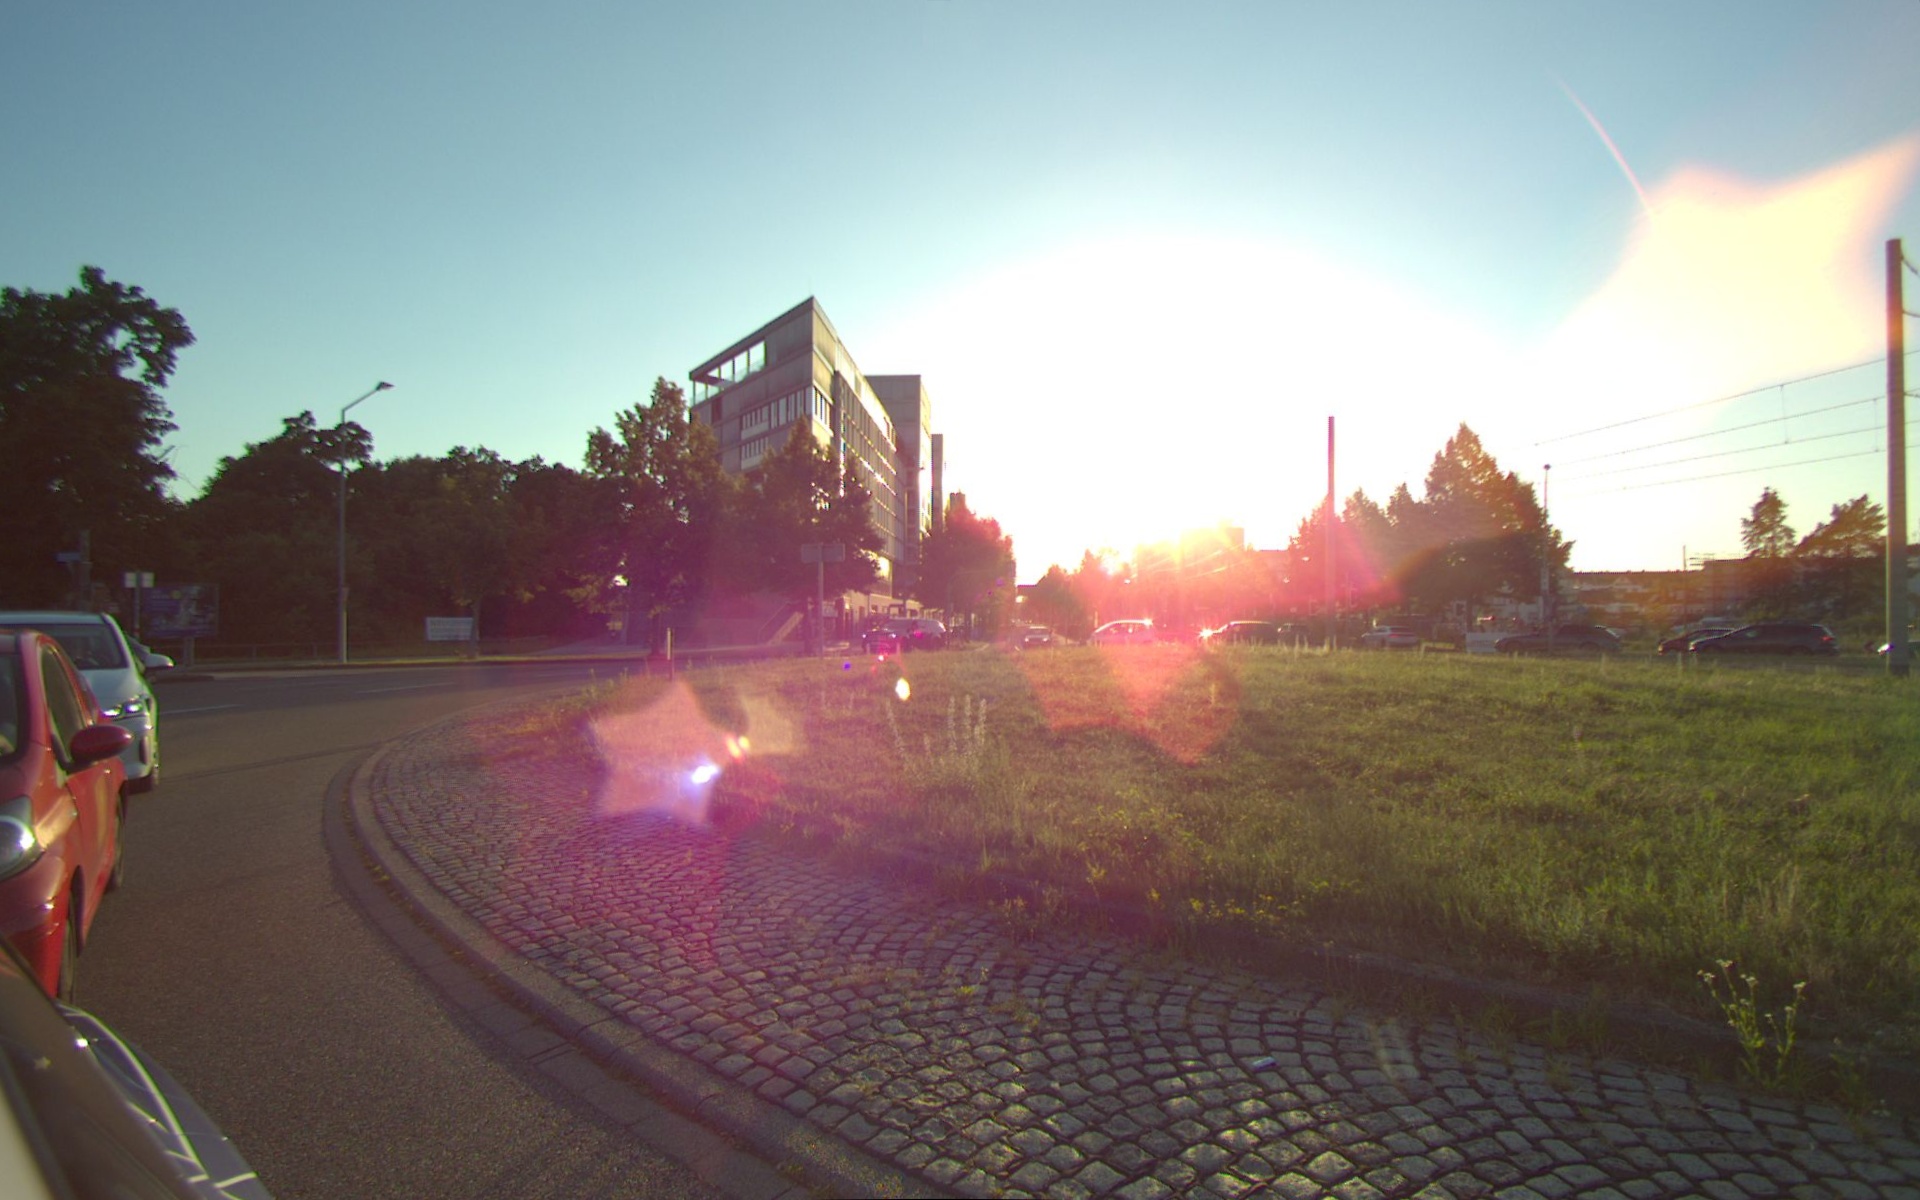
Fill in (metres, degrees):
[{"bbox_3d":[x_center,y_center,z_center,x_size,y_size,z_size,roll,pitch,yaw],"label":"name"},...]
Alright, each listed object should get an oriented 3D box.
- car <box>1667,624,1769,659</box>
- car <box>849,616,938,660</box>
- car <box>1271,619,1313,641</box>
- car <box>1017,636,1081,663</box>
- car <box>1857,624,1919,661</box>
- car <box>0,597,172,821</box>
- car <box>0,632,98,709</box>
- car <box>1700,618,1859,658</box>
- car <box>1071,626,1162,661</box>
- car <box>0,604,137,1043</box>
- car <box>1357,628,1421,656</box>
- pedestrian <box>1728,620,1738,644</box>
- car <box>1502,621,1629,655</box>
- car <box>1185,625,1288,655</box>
[{"bbox_3d":[34.901,1.892,46.654,1.617,1.511,3.496,1,-1,-40],"label":"car"},{"bbox_3d":[-2.880,1.705,45.334,1.985,1.827,5.269,-2,-3,20],"label":"car"},{"bbox_3d":[25.727,2.293,78.498,1.973,1.685,3.998,0,-1,1],"label":"car"},{"bbox_3d":[5.654,3.085,64.058,1.831,1.571,4.508,-1,-2,39],"label":"car"},{"bbox_3d":[37.099,1.606,37.974,1.966,1.382,4.749,0,-1,-31],"label":"car"},{"bbox_3d":[-8.327,0.829,8.929,1.969,1.618,4.204,1,-2,-40],"label":"car"},{"bbox_3d":[-18.552,1.330,18.879,1.724,1.389,4.131,0,-1,-6],"label":"car"},{"bbox_3d":[30.640,1.383,37.922,1.969,1.386,4.389,1,-2,-42],"label":"car"},{"bbox_3d":[7.350,2.040,47.713,3.831,1.592,1.958,0,-1,-7],"label":"car"},{"bbox_3d":[-4.852,0.766,4.528,1.662,1.431,4.008,1,-2,-37],"label":"car"},{"bbox_3d":[28.106,2.733,66.499,1.970,1.719,4.719,0,-1,-4],"label":"car"},{"bbox_3d":[42.884,1.763,56.126,0.397,1.318,0.423,-1,-2,41],"label":"pedestrian"},{"bbox_3d":[25.737,1.594,43.107,4.351,1.386,1.972,-1,-2,42],"label":"car"},{"bbox_3d":[13.080,1.892,48.088,4.325,1.386,1.998,0,-1,2],"label":"car"}]
